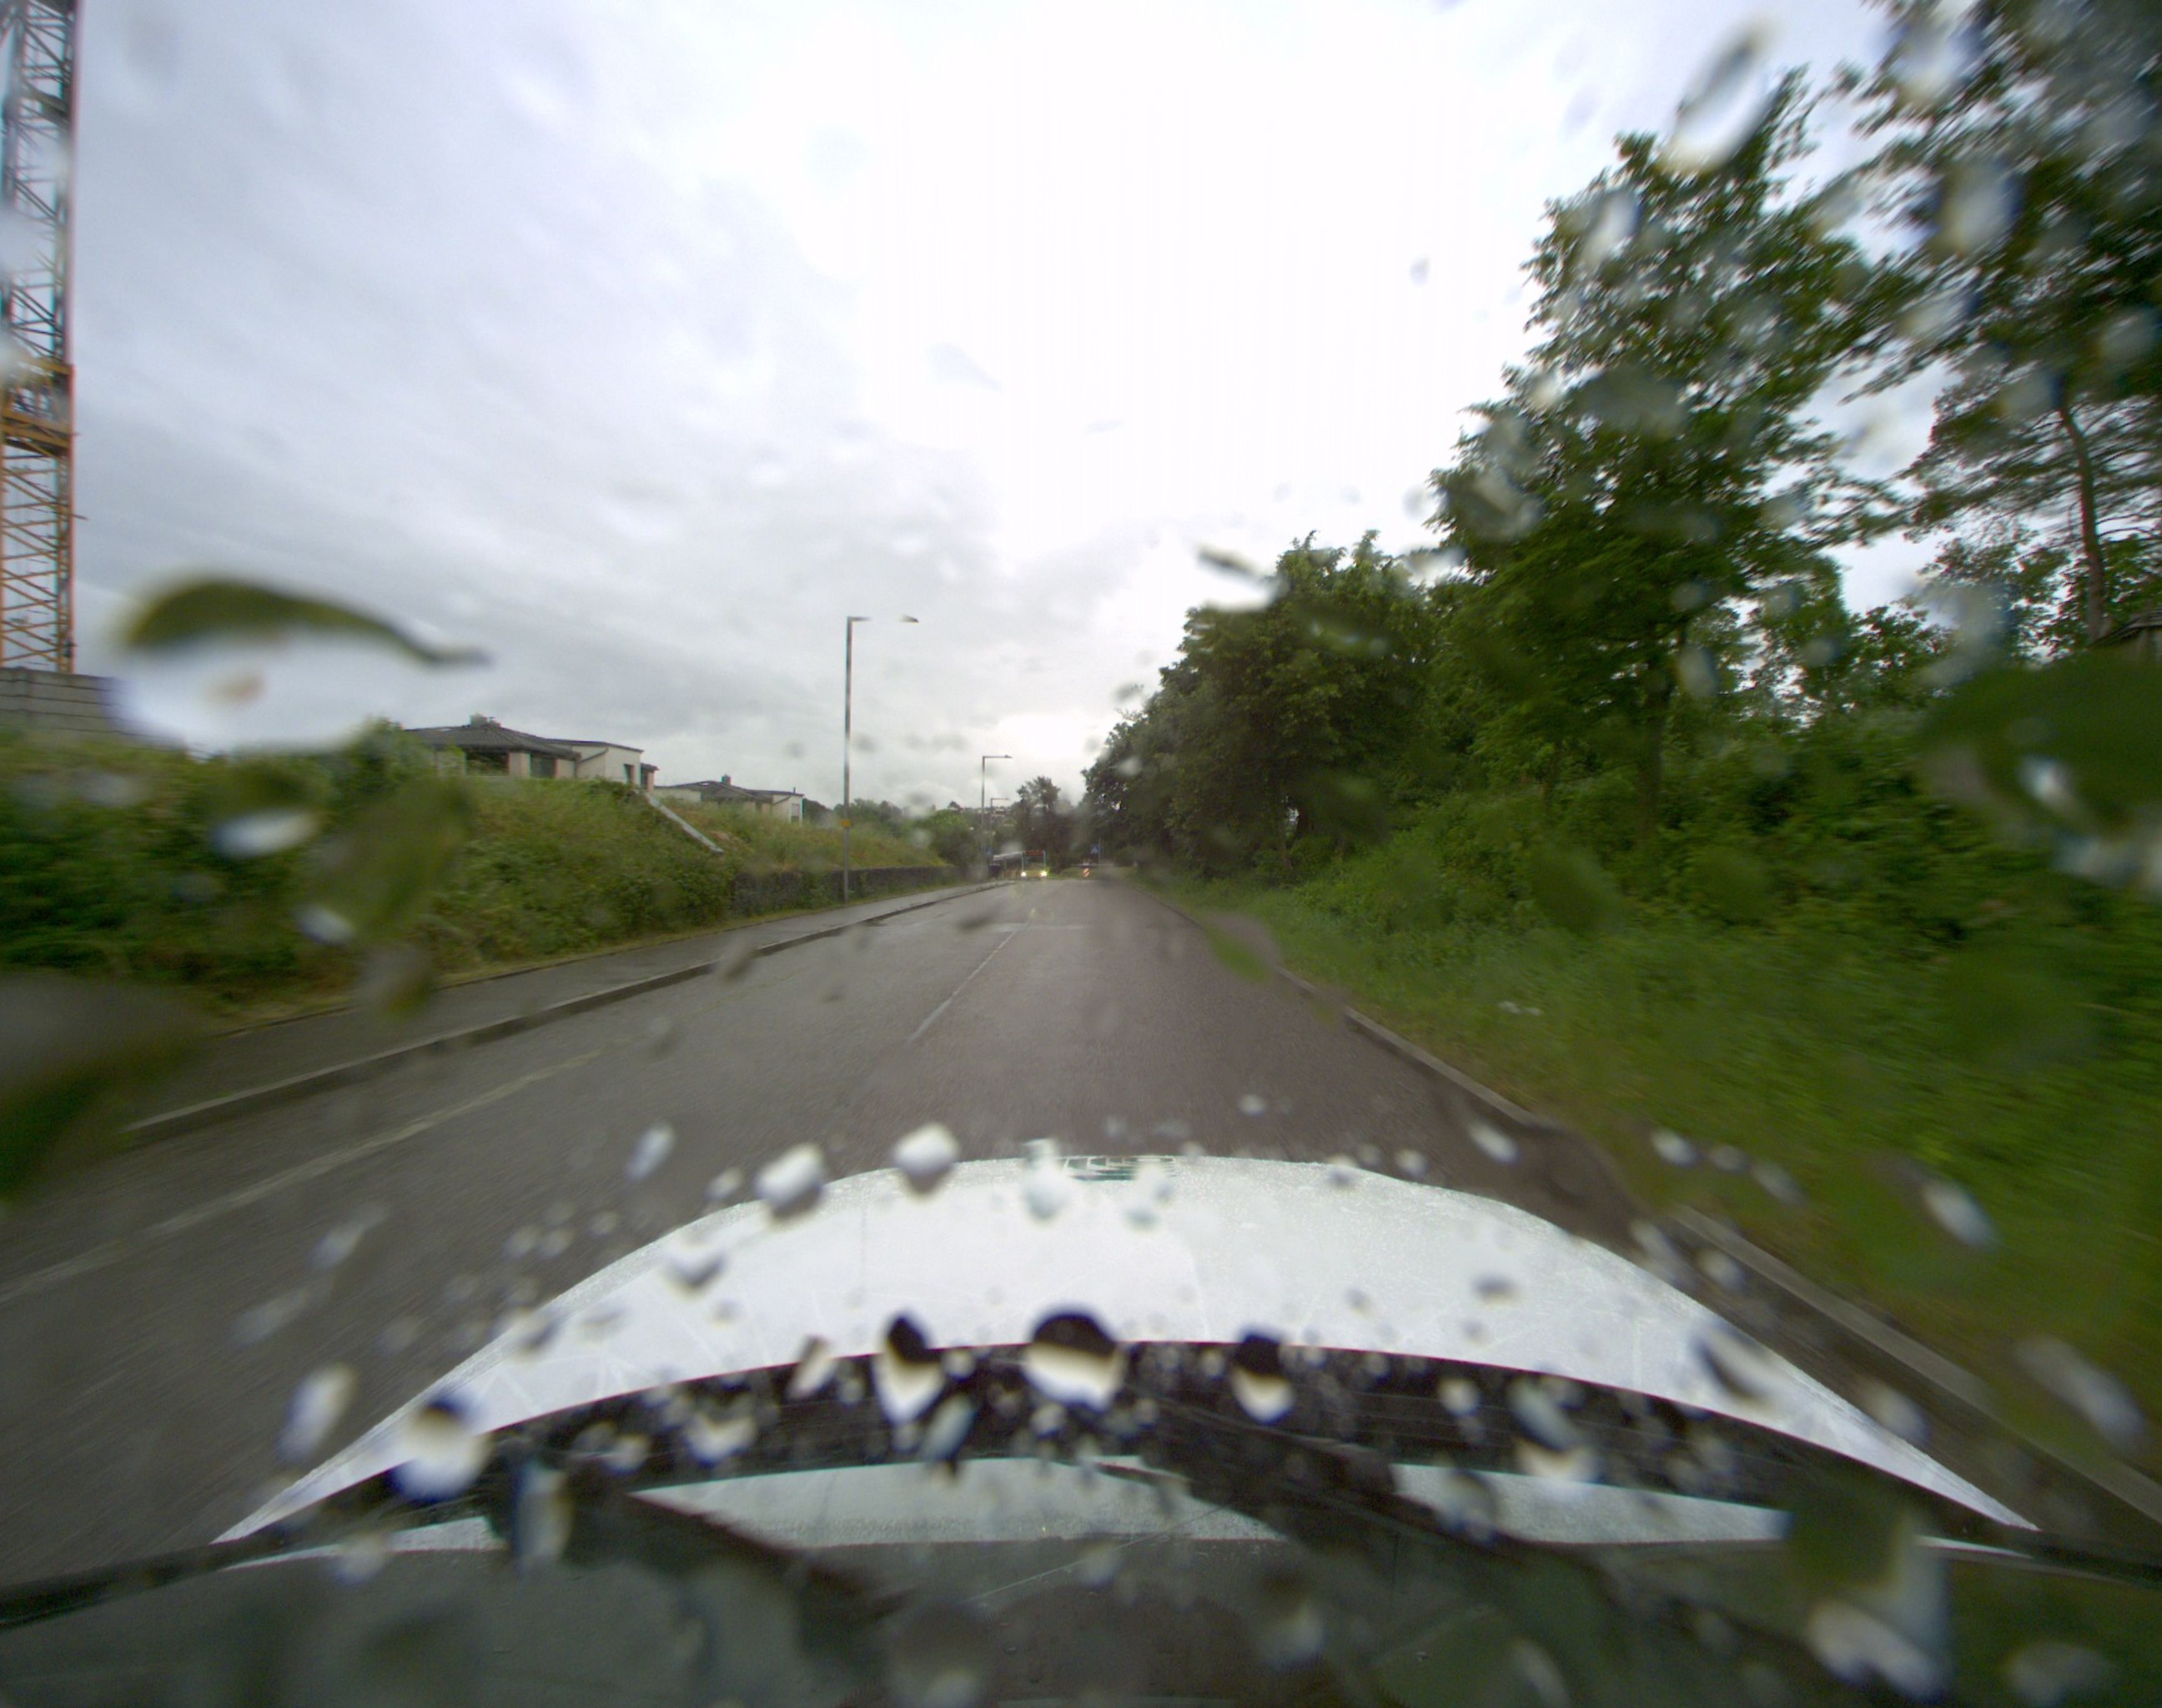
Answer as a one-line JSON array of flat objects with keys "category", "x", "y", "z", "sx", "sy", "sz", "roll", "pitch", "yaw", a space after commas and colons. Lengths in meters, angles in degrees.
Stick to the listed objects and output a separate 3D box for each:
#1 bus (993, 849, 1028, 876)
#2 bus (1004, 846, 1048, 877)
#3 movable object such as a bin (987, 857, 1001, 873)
[{"category": "bus", "x": -8.310, "y": 0.995, "z": 95.178, "sx": 2.645, "sy": 3.033, "sz": 7.623, "roll": 0, "pitch": -1, "yaw": -16}, {"category": "bus", "x": -5.946, "y": 0.829, "z": 86.288, "sx": 2.644, "sy": 3.067, "sz": 10.800, "roll": -1, "pitch": -1, "yaw": -14}, {"category": "movable object such as a bin", "x": -7.697, "y": 0.987, "z": 71.935, "sx": 1.131, "sy": 1.339, "sz": 1.394, "roll": 3, "pitch": -1, "yaw": -9}]
